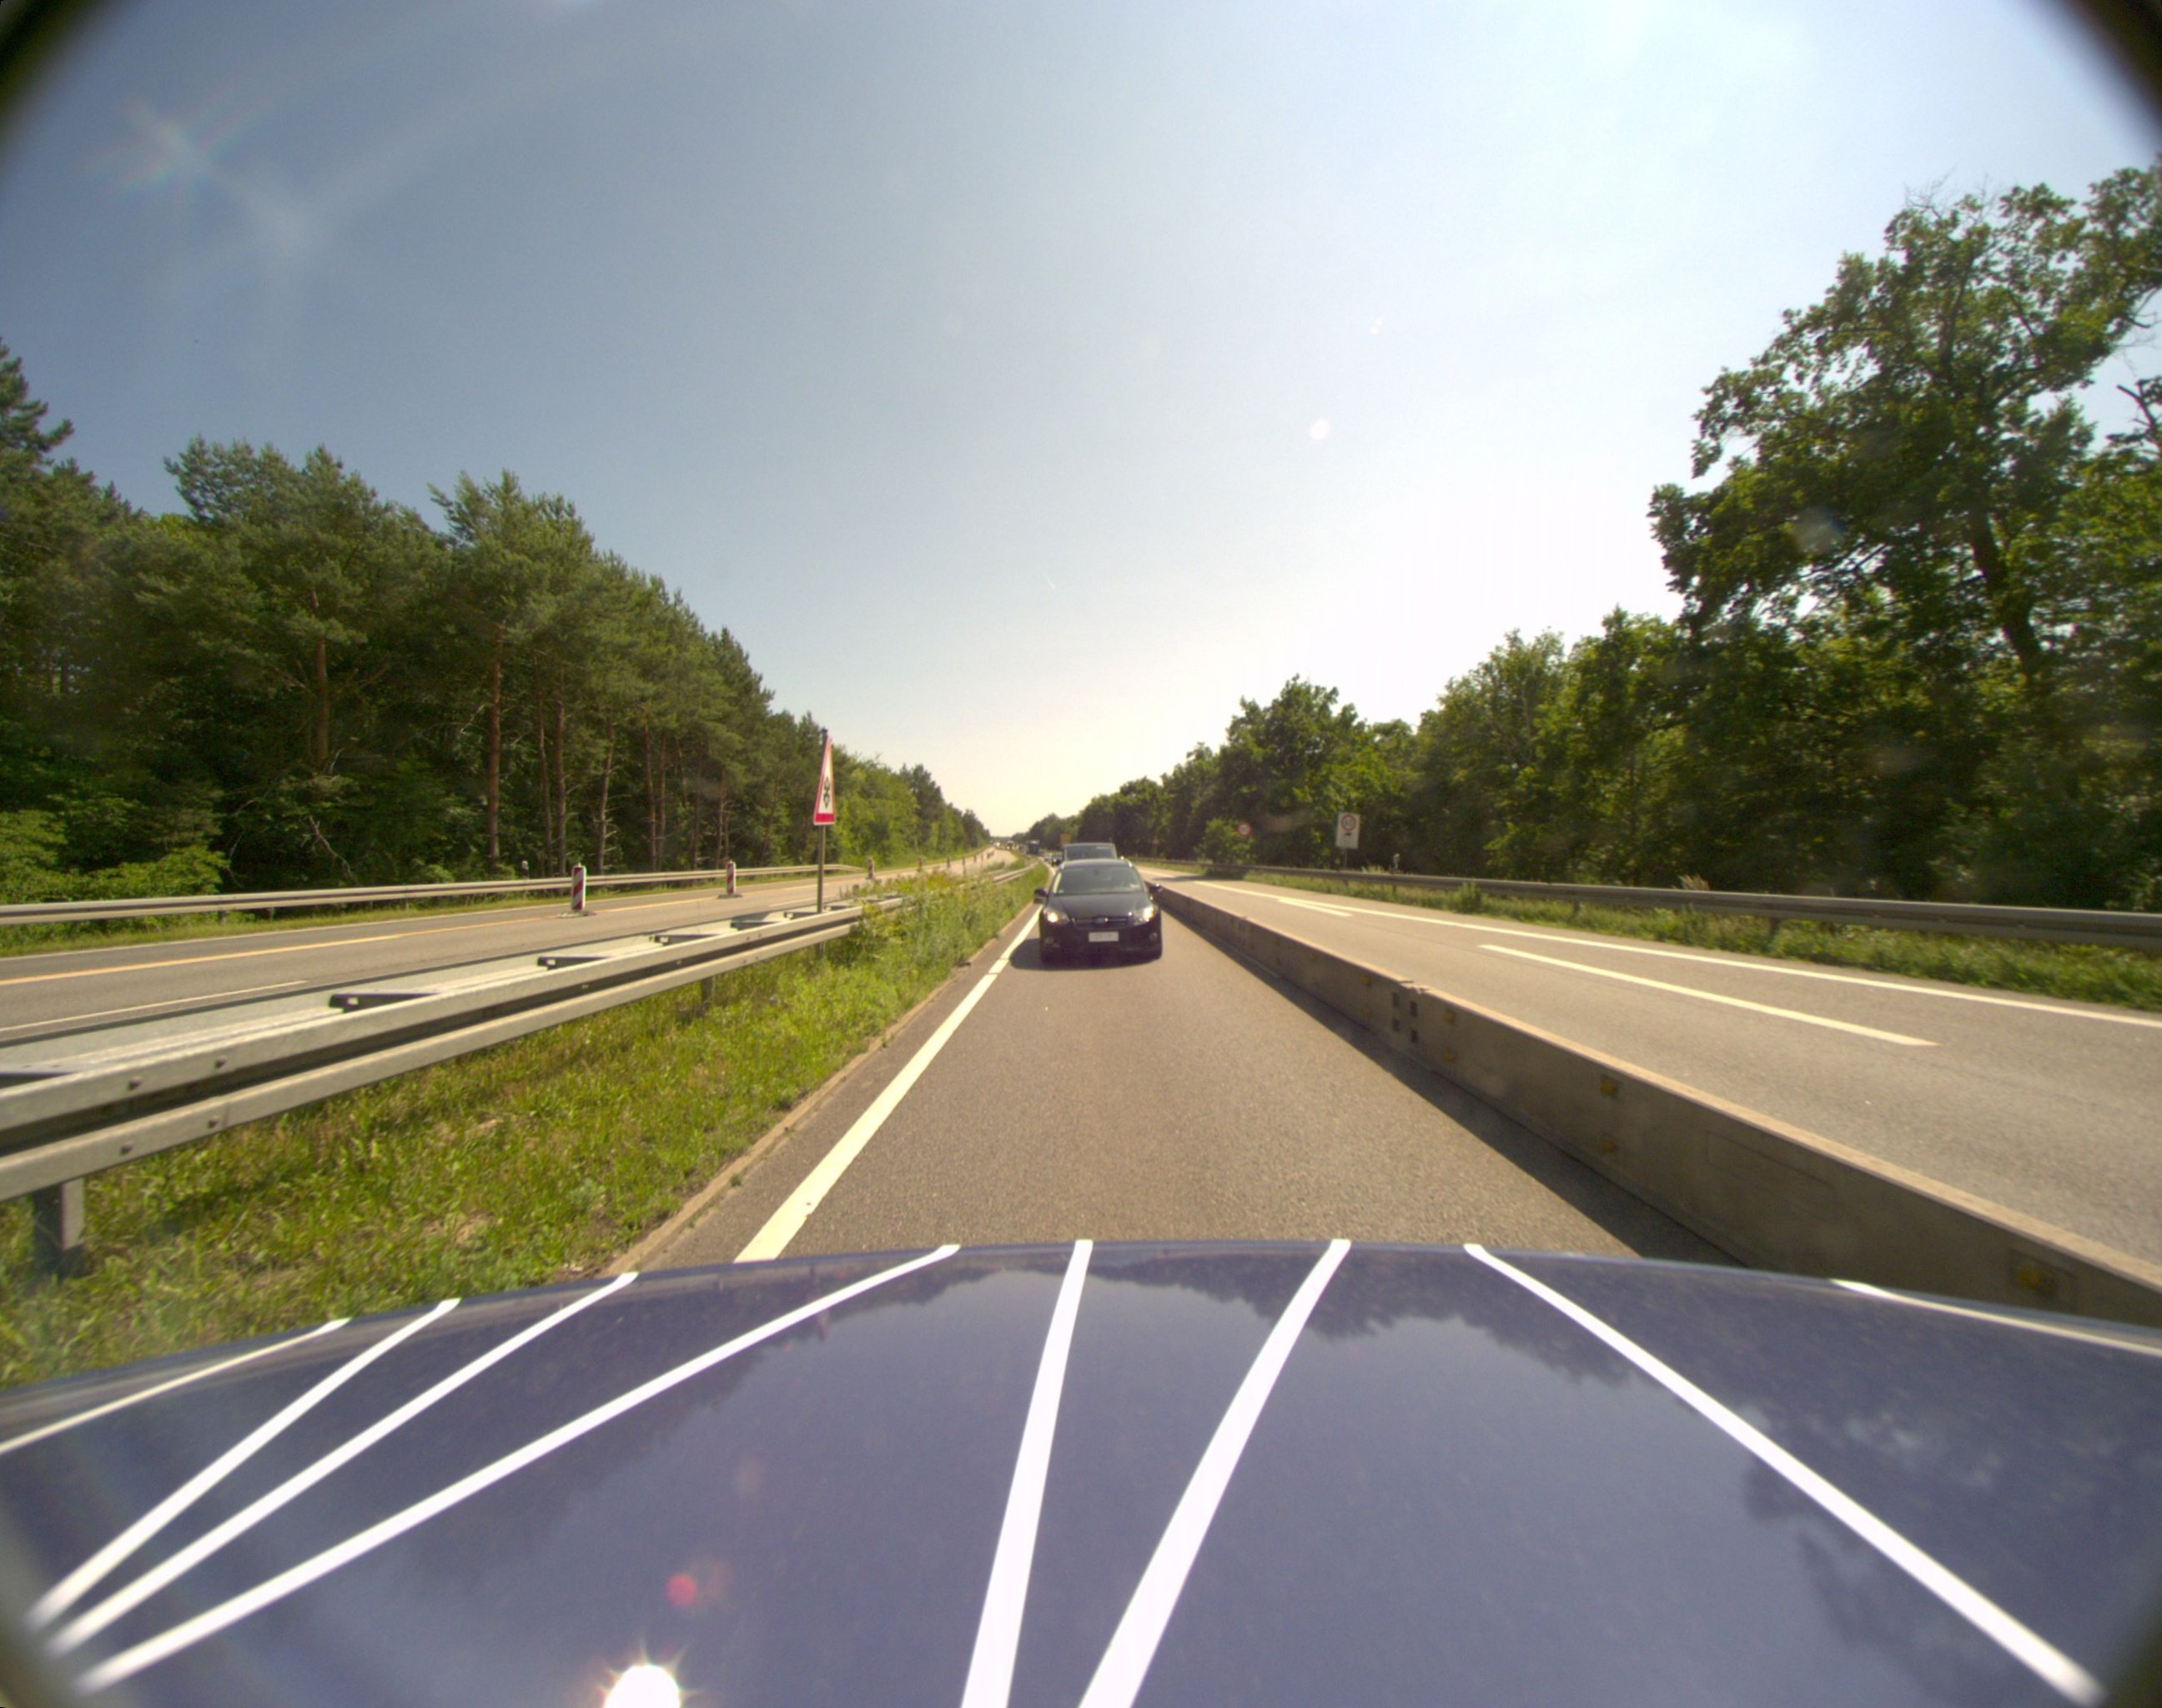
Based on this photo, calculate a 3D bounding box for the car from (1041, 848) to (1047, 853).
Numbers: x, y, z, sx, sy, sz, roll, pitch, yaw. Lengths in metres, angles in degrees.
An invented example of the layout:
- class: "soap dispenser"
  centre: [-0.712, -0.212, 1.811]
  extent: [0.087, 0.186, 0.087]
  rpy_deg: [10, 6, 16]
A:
- class: "car"
  centre: [-11.449, -1.094, 235.310]
  extent: [1.471, 1.436, 3.495]
  rpy_deg: [-1, 0, -7]

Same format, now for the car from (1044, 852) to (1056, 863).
- class: "car"
  centre: [-4.539, 0.494, 112.053]
  extent: [1.527, 1.647, 3.980]
  rpy_deg: [-1, 0, 0]

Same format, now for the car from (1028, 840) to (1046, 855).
- class: "car"
  centre: [-5.607, -0.810, 96.512]
  extent: [1.999, 1.773, 4.000]
  rpy_deg: [-1, 0, 0]

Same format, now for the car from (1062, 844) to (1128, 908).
- class: "car"
  centre: [0.392, 0.636, 25.889]
  extent: [1.960, 1.902, 4.934]
  rpy_deg: [-2, 1, -1]

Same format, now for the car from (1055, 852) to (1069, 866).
- class: "car"
  centre: [-2.266, 0.615, 91.666]
  extent: [1.527, 1.647, 3.980]
  rpy_deg: [-1, 0, 0]

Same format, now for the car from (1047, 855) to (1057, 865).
- class: "car"
  centre: [-4.917, 1.065, 130.280]
  extent: [1.527, 1.647, 3.754]
  rpy_deg: [0, 0, 0]

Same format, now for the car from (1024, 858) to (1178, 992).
- class: "car"
  centre: [0.241, 0.888, 11.830]
  extent: [1.847, 1.537, 4.935]
  rpy_deg: [-2, 0, 0]

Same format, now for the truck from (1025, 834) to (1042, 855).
- class: "truck"
  centre: [-12.586, -2.466, 200.636]
  extent: [3.831, 5.266, 11.239]
  rpy_deg: [-1, 0, -6]
